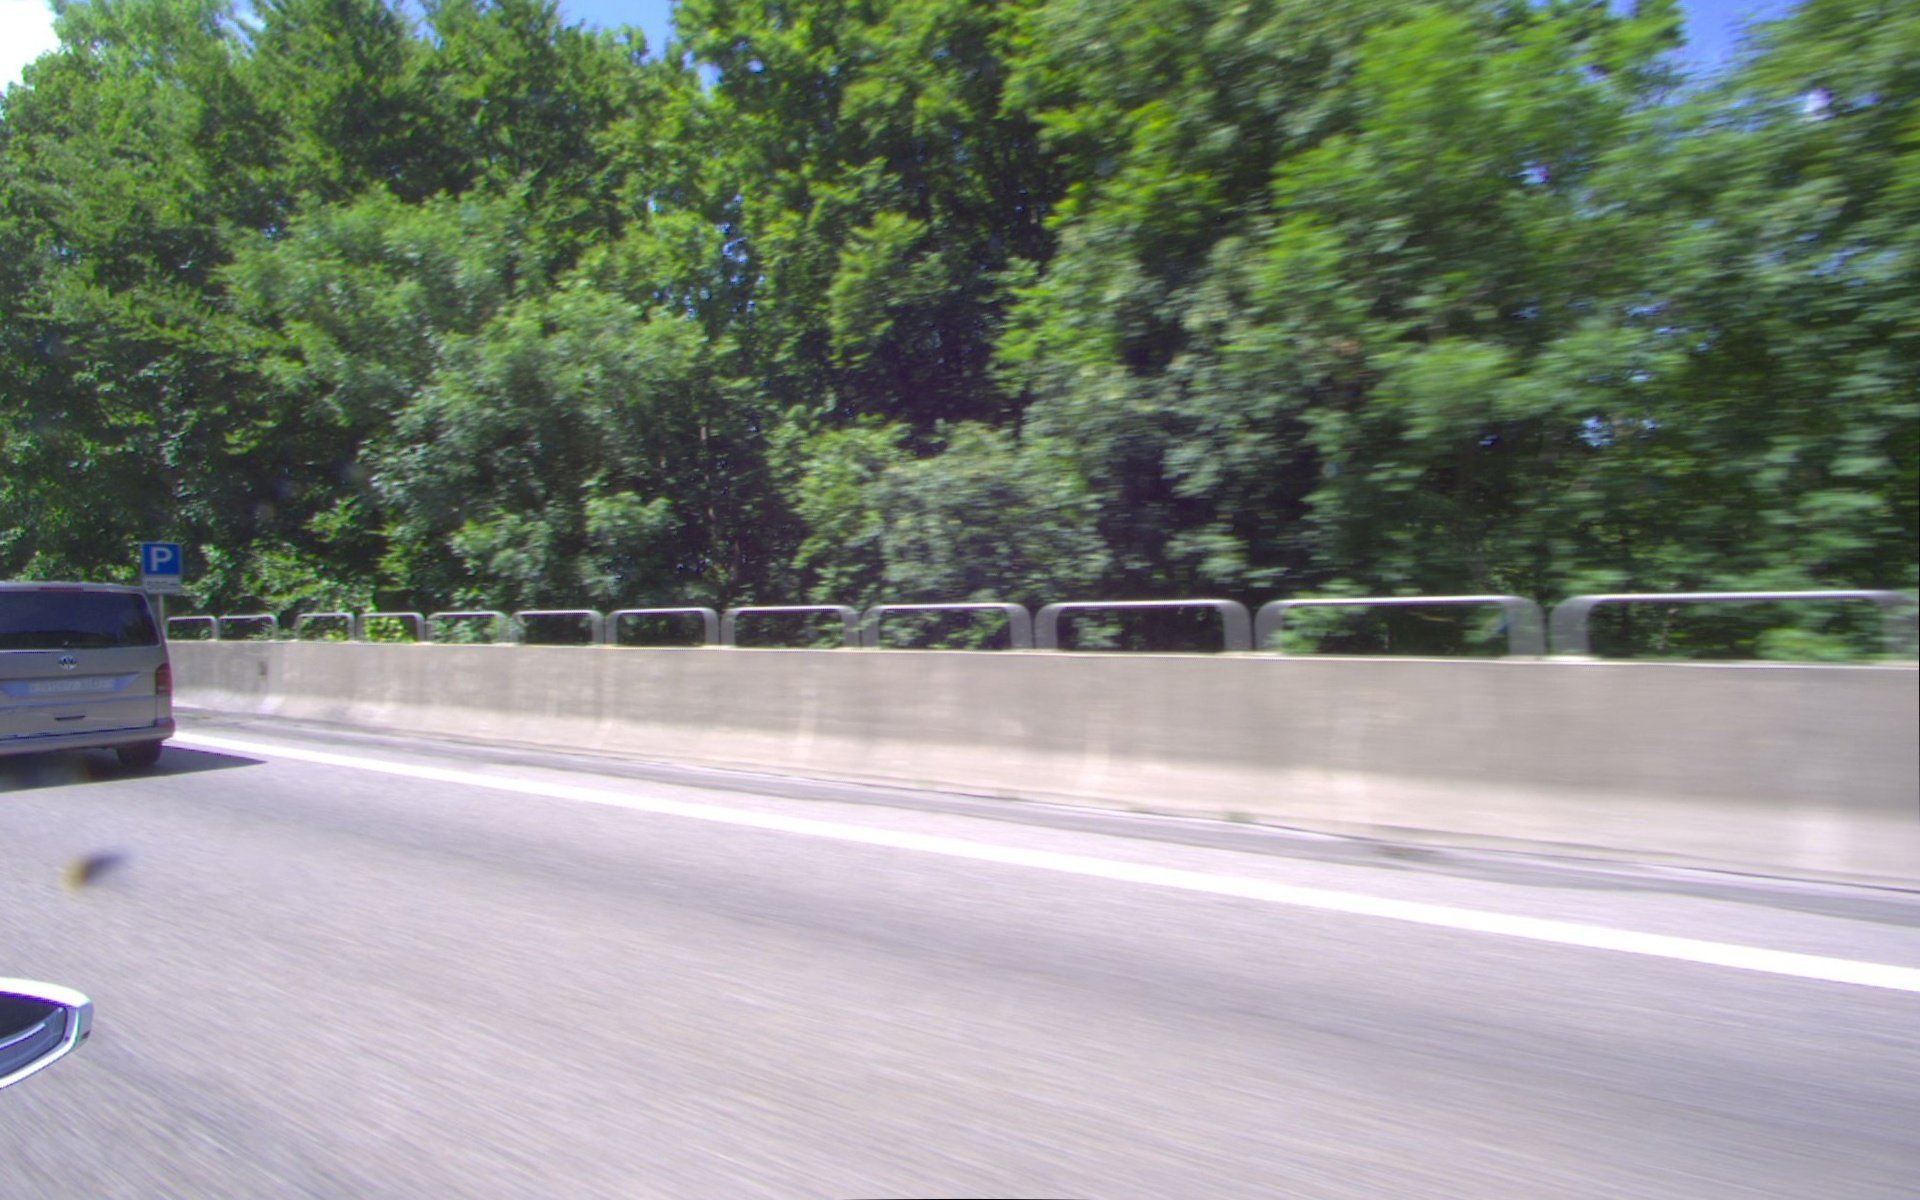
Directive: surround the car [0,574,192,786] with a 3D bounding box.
[{"bbox_3d":[-10.466,0.795,10.940,4.630,1.956,1.936,-1,-2,34],"label":"car"}]
